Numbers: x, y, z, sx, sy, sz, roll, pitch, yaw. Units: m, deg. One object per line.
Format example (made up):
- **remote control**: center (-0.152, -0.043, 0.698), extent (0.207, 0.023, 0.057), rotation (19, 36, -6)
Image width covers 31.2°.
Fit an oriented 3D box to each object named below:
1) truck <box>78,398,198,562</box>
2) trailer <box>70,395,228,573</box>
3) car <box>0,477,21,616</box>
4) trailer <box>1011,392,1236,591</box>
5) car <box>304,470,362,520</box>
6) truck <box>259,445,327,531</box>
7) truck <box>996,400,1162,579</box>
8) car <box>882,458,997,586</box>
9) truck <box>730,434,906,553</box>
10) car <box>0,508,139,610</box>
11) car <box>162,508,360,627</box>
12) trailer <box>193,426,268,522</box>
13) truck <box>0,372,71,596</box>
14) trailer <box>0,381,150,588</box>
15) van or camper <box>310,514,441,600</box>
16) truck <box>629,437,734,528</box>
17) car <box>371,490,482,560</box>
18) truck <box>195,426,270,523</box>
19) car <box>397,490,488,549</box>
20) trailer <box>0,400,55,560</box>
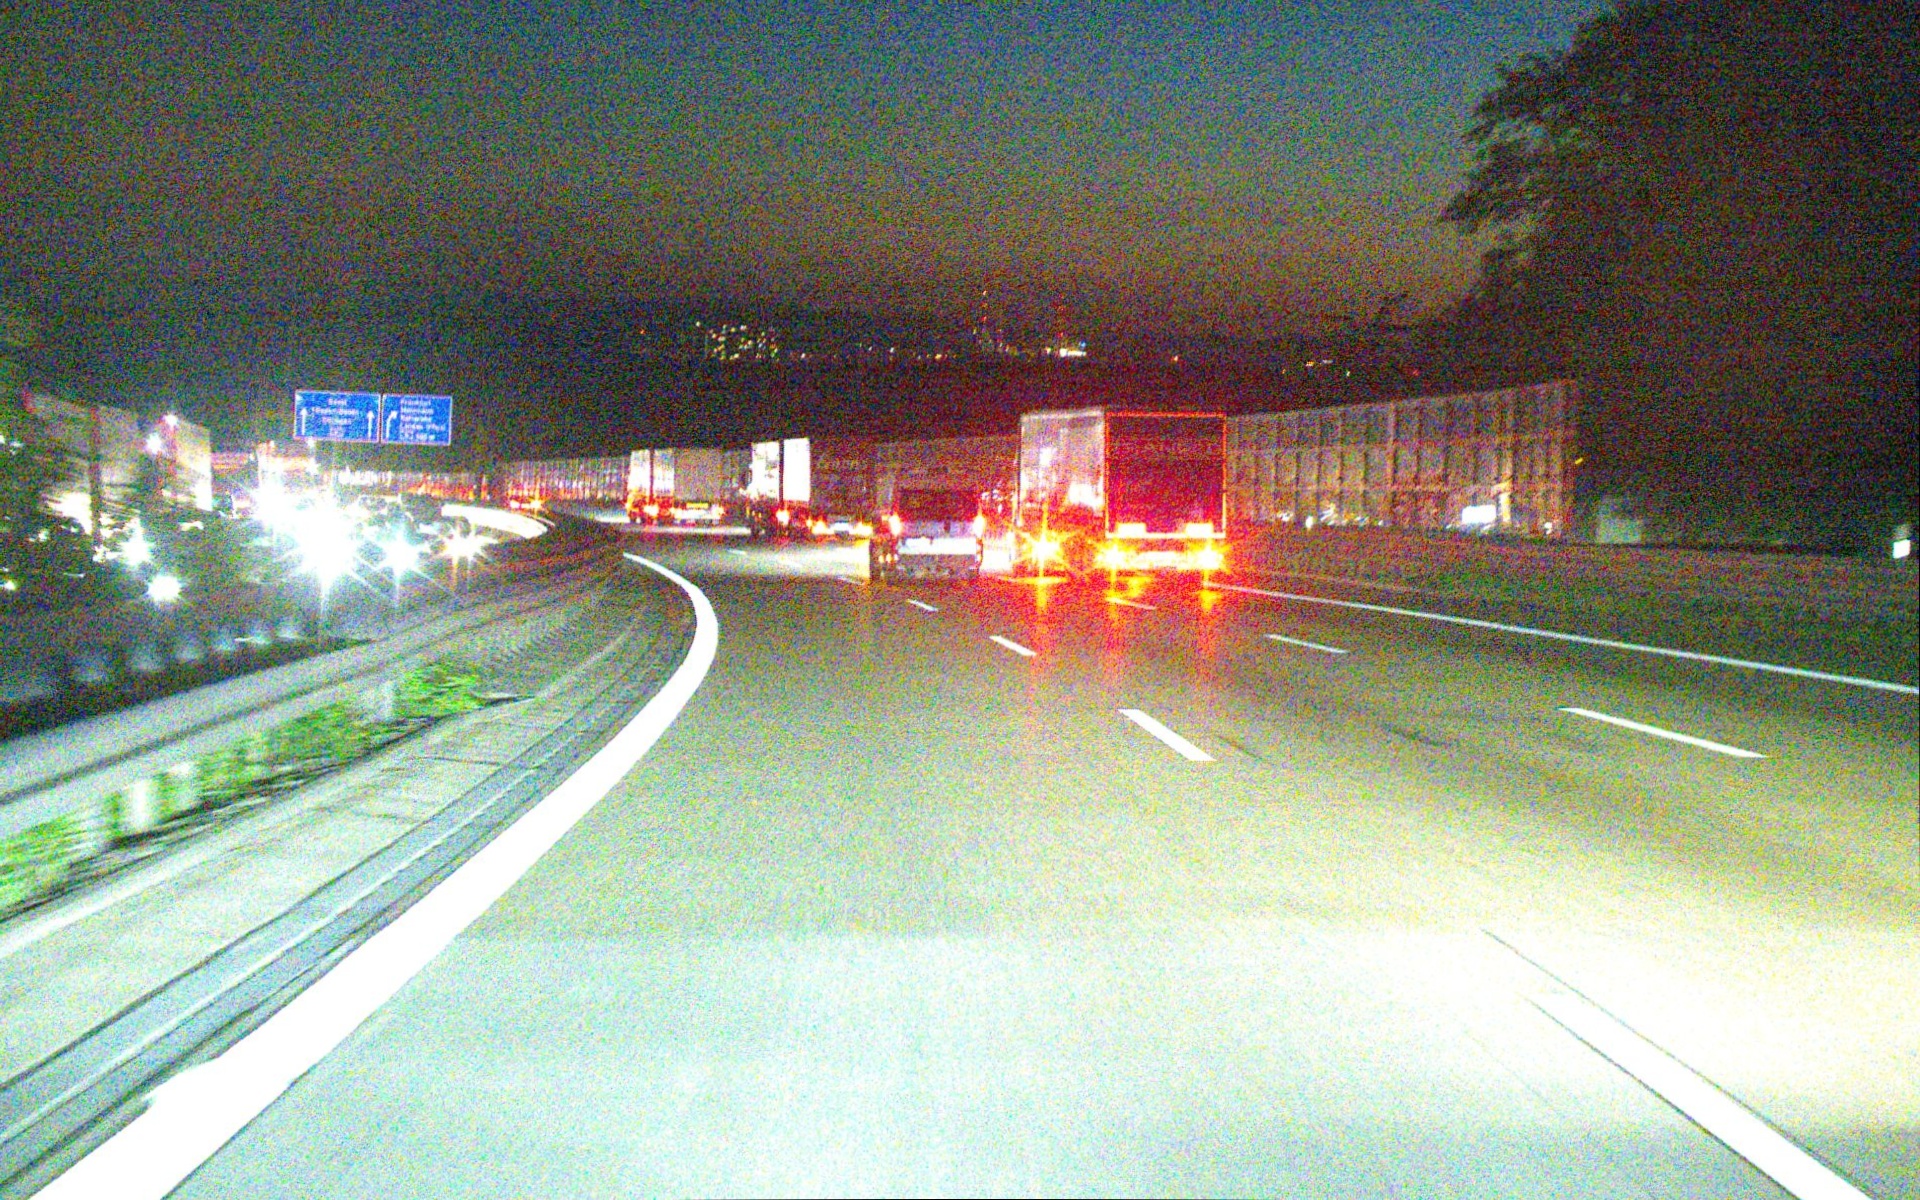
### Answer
- **truck**: center (-22.129, -3.216, 92.743), extent (2.615, 4.254, 5.959), rotation (0, 2, -8)
- **trailer**: center (-23.110, -3.291, 98.679), extent (2.839, 4.448, 14.528), rotation (-7, 3, -9)
- **car**: center (-13.481, -0.750, 44.668), extent (1.676, 1.844, 4.112), rotation (4, 0, -5)
- **trailer**: center (3.442, -2.452, 76.788), extent (2.853, 4.053, 13.209), rotation (0, 2, -7)
- **car**: center (-24.821, -4.157, 136.200), extent (1.875, 1.916, 4.869), rotation (0, 1, -5)
- **truck**: center (-34.228, -5.688, 176.527), extent (3.107, 4.083, 7.078), rotation (4, 0, -10)
- **truck**: center (2.764, -2.661, 82.537), extent (2.861, 4.062, 7.513), rotation (0, 2, -7)
- **car**: center (-0.457, -1.658, 75.466), extent (2.337, 2.631, 5.247), rotation (2, 0, 0)
- **truck**: center (-6.204, -4.401, 143.773), extent (3.914, 4.611, 21.025), rotation (0, 1, -12)
- **car**: center (-14.393, -0.645, 55.120), extent (1.897, 1.518, 4.350), rotation (-2, 1, -8)
- **car**: center (-9.239, -0.473, 45.793), extent (1.903, 1.487, 4.868), rotation (0, 1, -3)
- **trailer**: center (-30.734, -5.317, 144.664), extent (2.819, 3.903, 8.743), rotation (-1, 3, -14)
- **truck**: center (-19.255, -2.258, 67.294), extent (2.864, 4.196, 6.108), rotation (0, 2, -7)
- **trailer**: center (-20.341, -2.588, 76.472), extent (2.875, 4.169, 14.527), rotation (0, 2, -7)
- **van or camper**: center (-10.284, -0.791, 60.802), extent (1.739, 1.460, 4.868), rotation (0, 1, -3)
- **truck**: center (-14.977, -6.294, 183.422), extent (3.343, 4.460, 13.915), rotation (3, 1, -13)
- **car**: center (-11.760, -1.660, 76.059), extent (1.903, 1.487, 4.868), rotation (0, 1, -3)
- **truck**: center (-29.832, -5.170, 140.914), extent (2.827, 3.902, 4.937), rotation (-1, 2, -14)
- **car**: center (-13.465, -2.112, 89.711), extent (1.903, 1.487, 4.868), rotation (0, 1, -3)
- **trailer**: center (-26.829, -3.200, 92.799), extent (2.839, 4.157, 13.288), rotation (-2, 2, -8)
